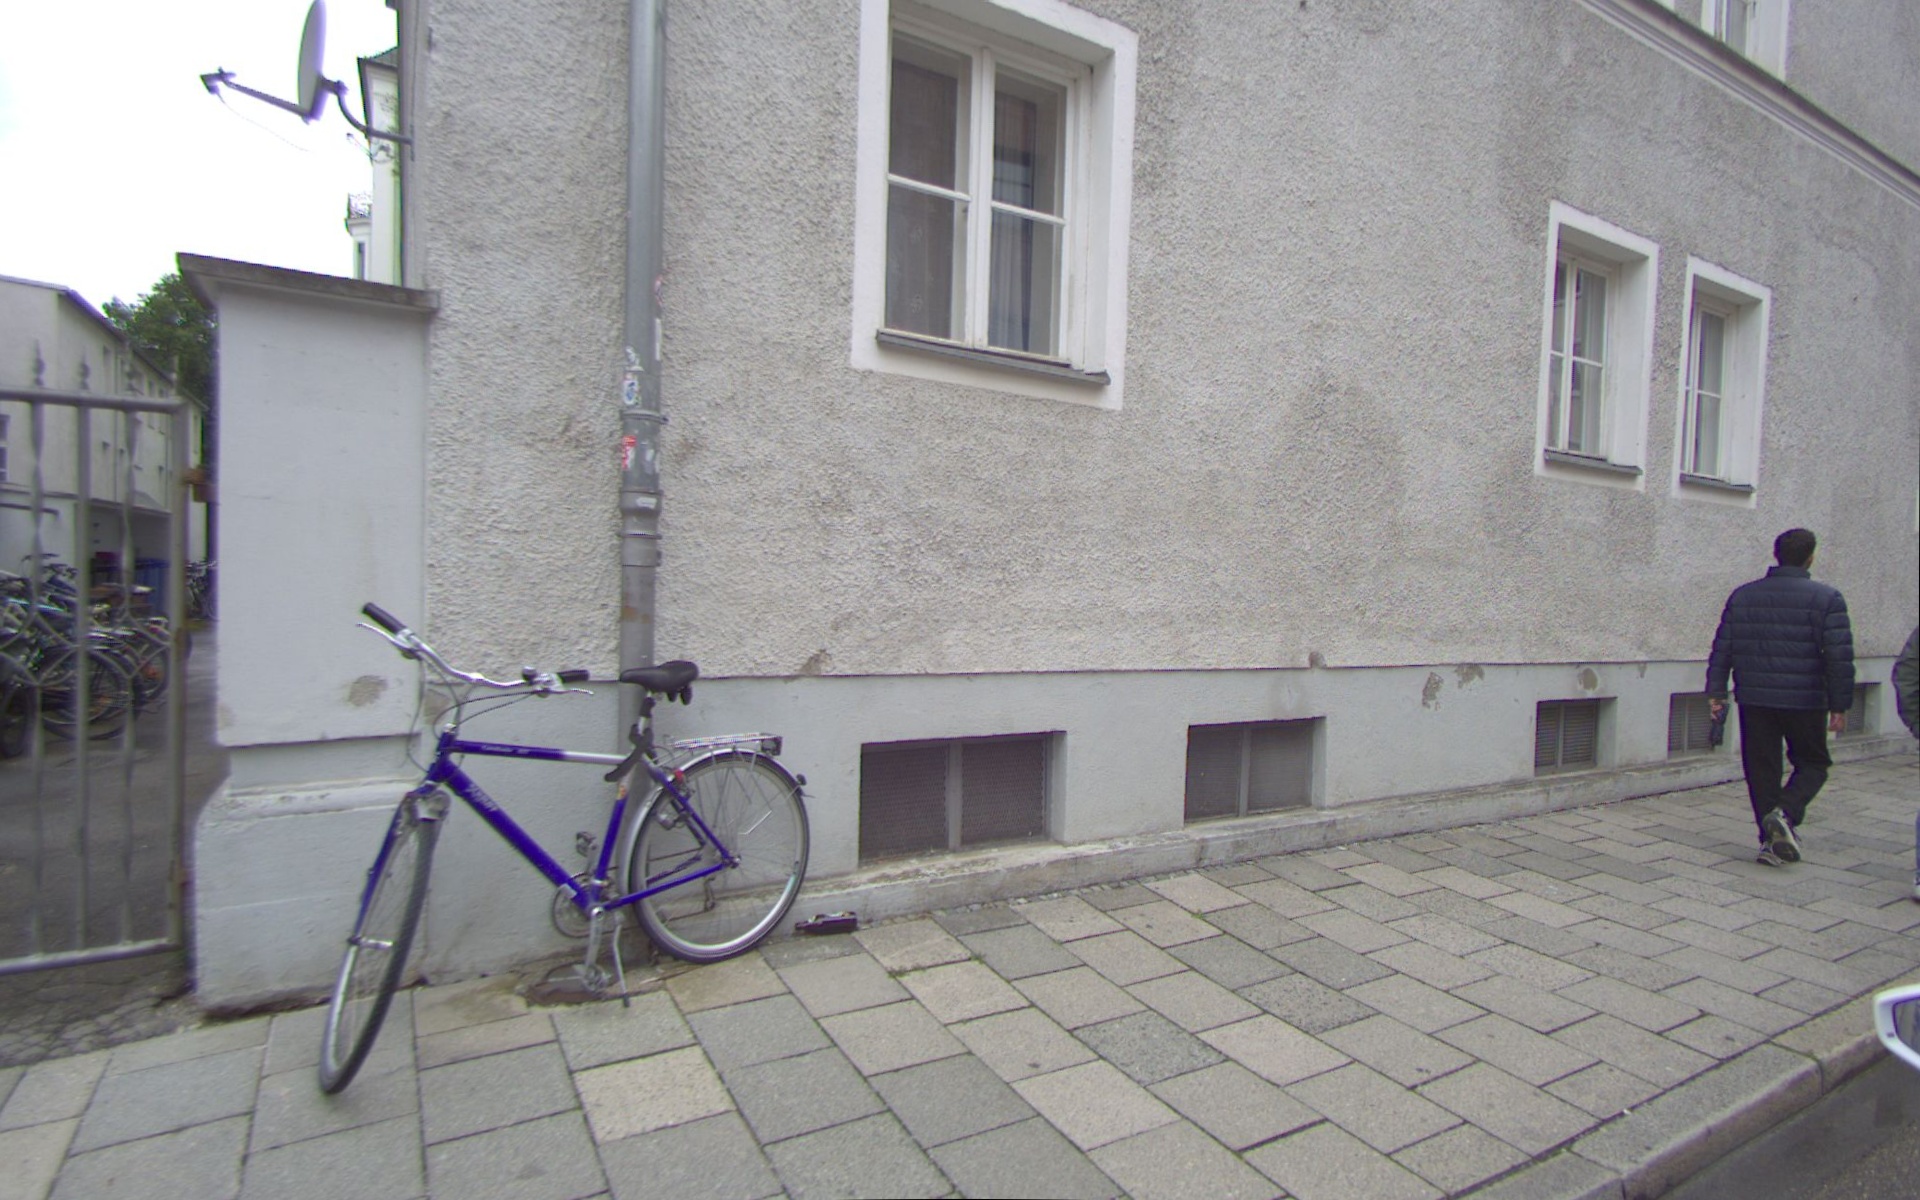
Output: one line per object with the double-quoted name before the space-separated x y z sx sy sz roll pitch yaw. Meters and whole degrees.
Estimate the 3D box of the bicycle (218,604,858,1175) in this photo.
"bicycle" -1.141 0.653 3.038 0.634 1.234 1.657 2 0 40

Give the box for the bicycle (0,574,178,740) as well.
"bicycle" -7.016 0.402 7.355 1.967 1.175 0.524 2 1 -33

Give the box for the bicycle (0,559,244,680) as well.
"bicycle" -8.725 0.206 10.495 1.967 1.175 0.524 2 1 -33

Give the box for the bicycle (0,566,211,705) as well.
"bicycle" -7.940 0.309 8.941 1.967 1.175 0.524 2 1 -33

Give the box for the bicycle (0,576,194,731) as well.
"bicycle" -7.366 0.409 7.974 1.967 1.175 0.524 2 1 -33

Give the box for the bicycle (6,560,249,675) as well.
"bicycle" -9.014 0.199 10.980 1.967 1.175 0.524 2 1 -33

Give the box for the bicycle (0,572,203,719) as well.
"bicycle" -7.648 0.372 8.458 1.967 1.175 0.478 2 1 -33

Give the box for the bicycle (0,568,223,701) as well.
"bicycle" -8.202 0.318 9.466 1.967 1.175 0.524 2 1 -33

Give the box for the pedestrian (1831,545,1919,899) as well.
"pedestrian" 5.027 0.602 4.956 0.896 1.681 0.749 2 3 -31

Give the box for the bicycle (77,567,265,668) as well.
"bicycle" -9.299 0.216 11.914 1.677 1.140 0.515 1 -1 -32

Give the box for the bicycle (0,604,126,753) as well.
"bicycle" -6.844 0.521 6.796 1.776 0.989 0.446 2 1 -31

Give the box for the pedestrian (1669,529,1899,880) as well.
"pedestrian" 4.426 0.514 5.408 0.814 1.736 0.609 2 3 -31

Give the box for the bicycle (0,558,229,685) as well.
"bicycle" -8.502 0.215 9.960 1.967 1.175 0.485 2 1 -33
